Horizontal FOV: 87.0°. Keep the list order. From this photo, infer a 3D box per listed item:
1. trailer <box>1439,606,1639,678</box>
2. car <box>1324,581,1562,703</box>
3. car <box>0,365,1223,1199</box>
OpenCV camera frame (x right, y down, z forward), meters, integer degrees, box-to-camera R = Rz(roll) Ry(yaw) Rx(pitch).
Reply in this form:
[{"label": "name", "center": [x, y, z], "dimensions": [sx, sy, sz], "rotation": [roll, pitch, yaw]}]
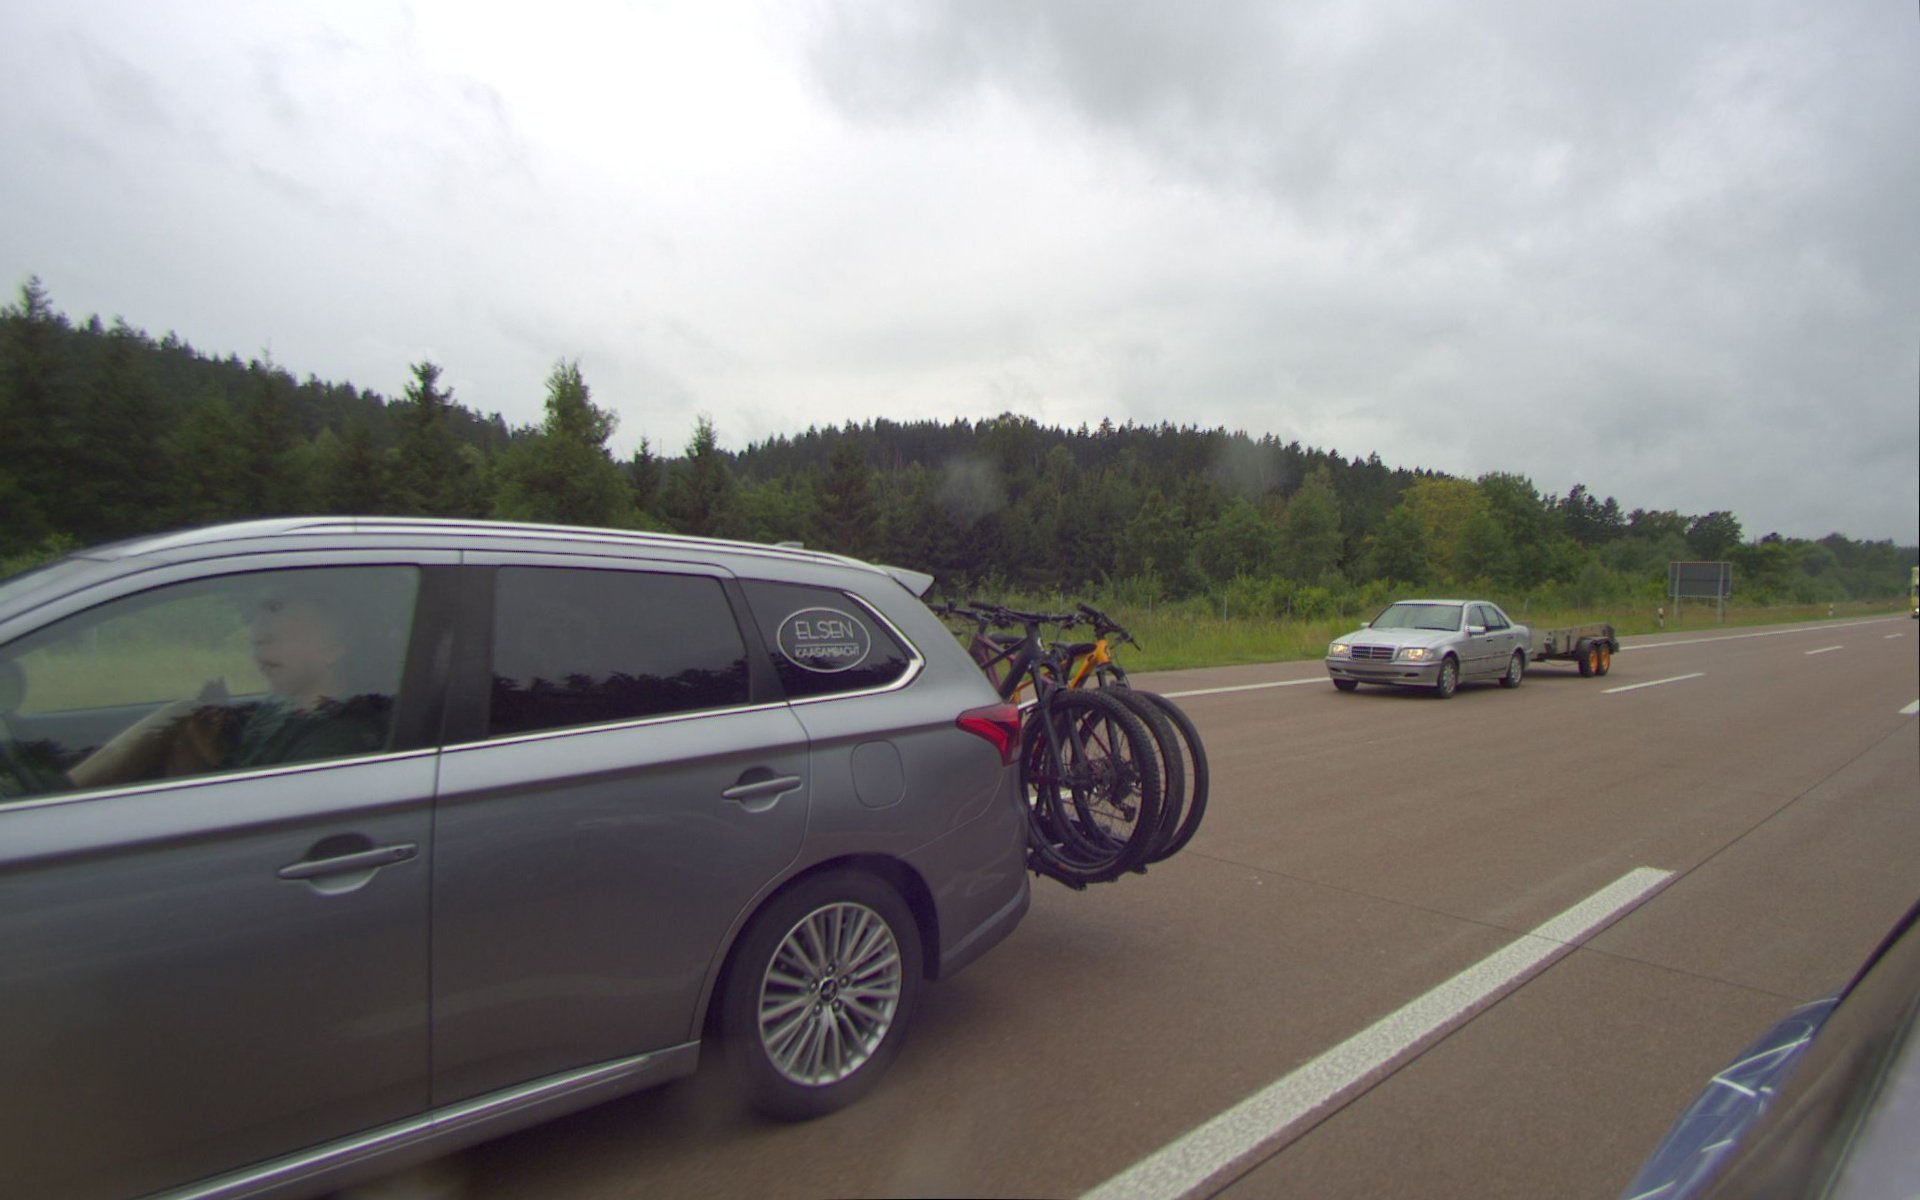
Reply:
[{"label": "trailer", "center": [11.158, 0.723, 19.372], "dimensions": [4.558, 1.181, 1.974], "rotation": [0, 0, -42]}, {"label": "car", "center": [7.822, 0.533, 16.128], "dimensions": [4.892, 1.631, 1.700], "rotation": [-2, 2, -42]}, {"label": "car", "center": [-1.771, 0.399, 2.850], "dimensions": [5.720, 1.612, 1.997], "rotation": [-2, 1, -41]}]
